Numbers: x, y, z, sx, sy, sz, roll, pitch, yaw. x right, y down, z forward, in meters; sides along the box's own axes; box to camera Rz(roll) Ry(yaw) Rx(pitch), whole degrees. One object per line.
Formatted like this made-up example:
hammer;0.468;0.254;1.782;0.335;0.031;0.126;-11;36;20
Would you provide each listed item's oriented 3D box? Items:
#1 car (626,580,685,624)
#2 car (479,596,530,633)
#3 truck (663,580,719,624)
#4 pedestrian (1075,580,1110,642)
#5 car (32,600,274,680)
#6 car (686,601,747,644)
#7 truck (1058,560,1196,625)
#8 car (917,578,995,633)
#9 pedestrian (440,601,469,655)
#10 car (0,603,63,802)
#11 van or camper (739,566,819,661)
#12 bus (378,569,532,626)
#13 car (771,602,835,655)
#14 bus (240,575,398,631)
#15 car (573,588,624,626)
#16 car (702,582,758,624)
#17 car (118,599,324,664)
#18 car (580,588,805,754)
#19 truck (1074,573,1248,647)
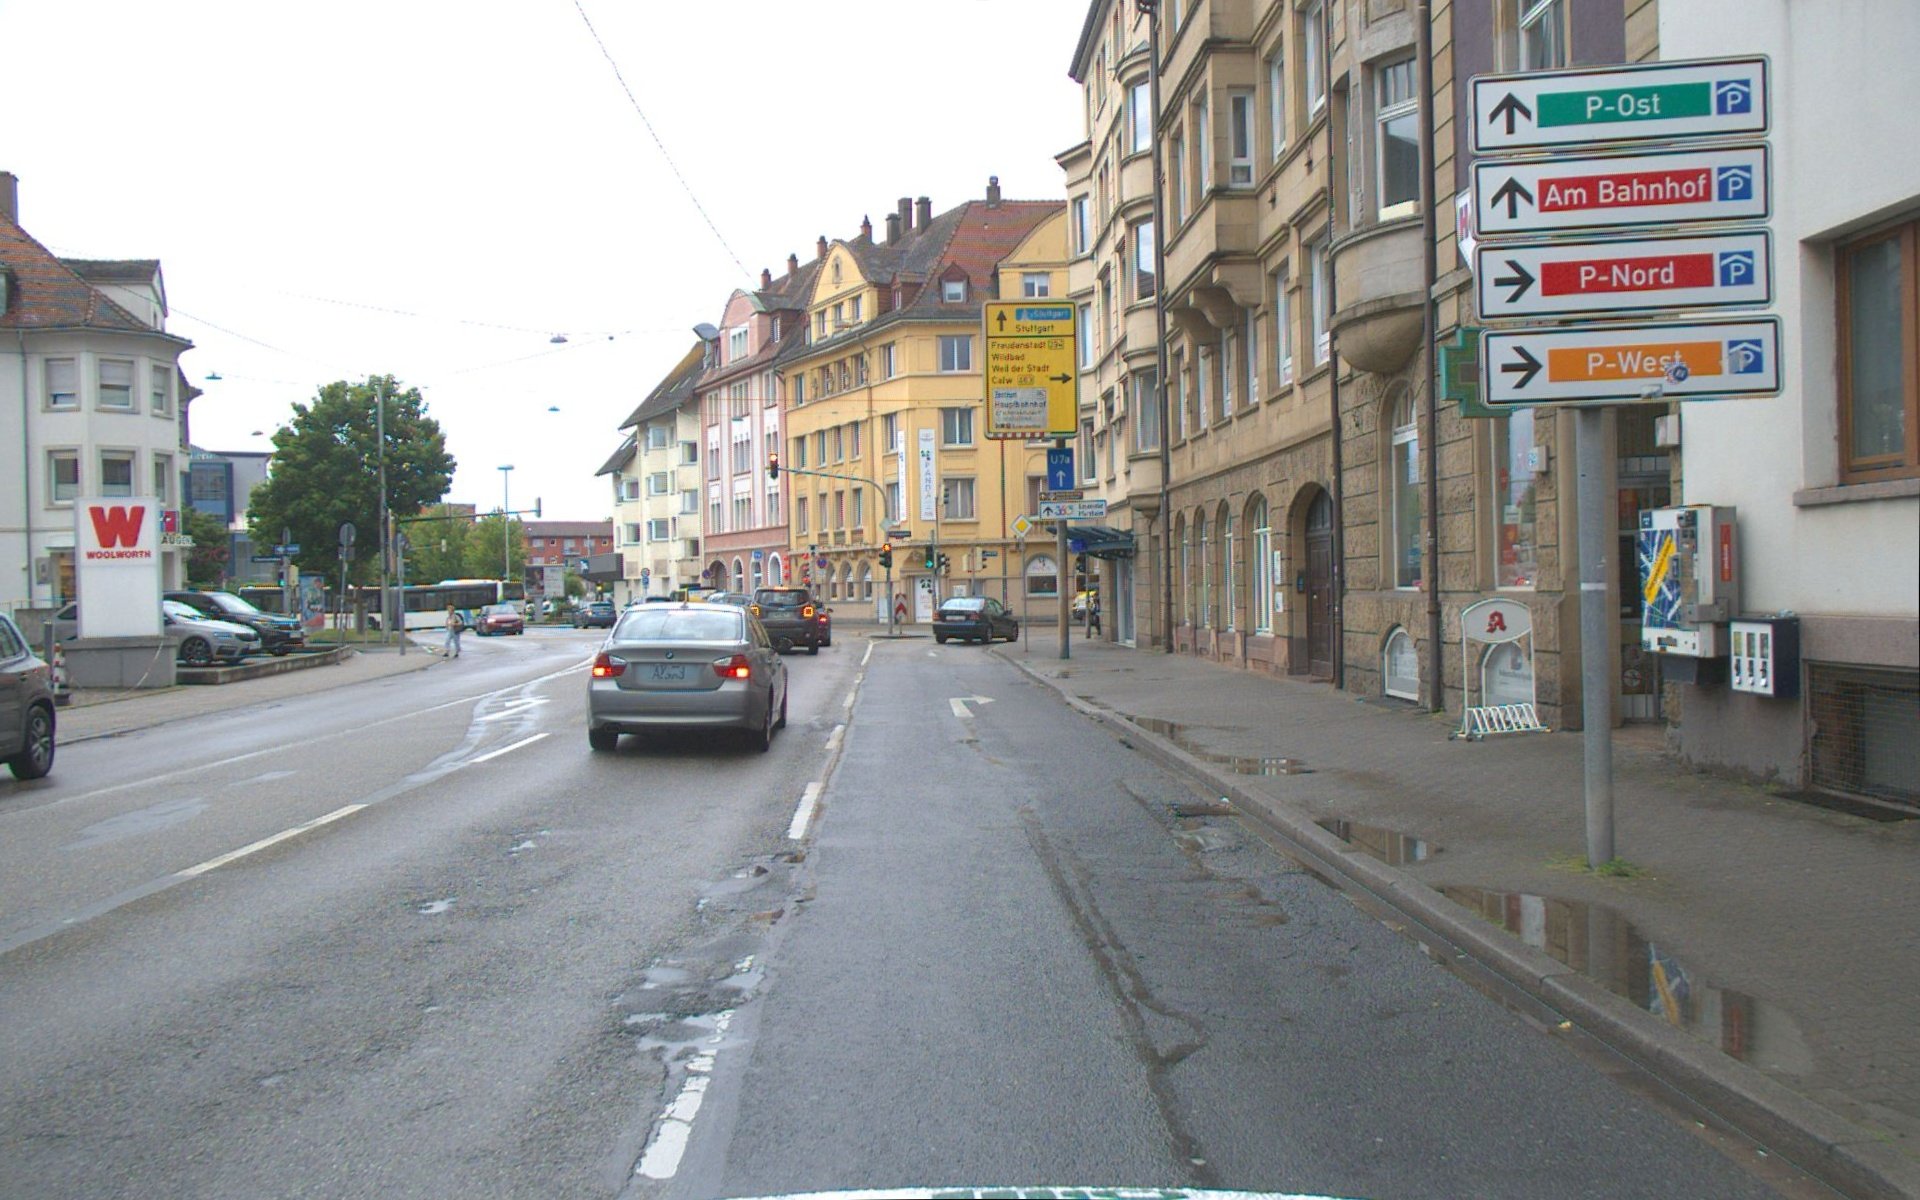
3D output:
car;-14.705;0.089;79.781;1.967;2.049;3.971;-1;0;-23
car;-21.922;0.693;79.556;1.820;1.713;3.970;0;0;-24
truck;-15.543;0.098;95.422;2.003;2.431;4.198;0;0;-27
pedestrian;4.203;0.346;52.429;1.035;1.937;1.025;-1;0;3
car;-17.737;0.861;36.543;4.362;1.553;1.883;-2;0;-8
car;-11.022;1.013;74.624;1.964;1.847;3.977;-1;0;-19
truck;6.152;-0.284;60.689;5.016;2.289;2.199;-1;0;-41
car;-0.161;0.192;50.405;1.766;1.590;3.991;-1;-1;-9
pedestrian;-14.731;0.824;48.201;0.750;1.556;0.505;1;-1;-23
car;-9.059;0.891;13.709;1.916;1.688;4.040;-1;0;-15
van or camper;-4.498;0.307;41.427;1.819;2.184;4.138;-2;0;-5
bus;-30.762;-0.153;100.753;8.923;3.159;2.919;-2;0;19
car;-4.585;0.810;48.253;1.768;1.430;4.678;-1;0;-5
bus;-39.672;0.146;102.457;8.655;3.159;2.920;-2;0;5
car;-19.955;0.387;91.259;1.967;2.049;3.970;-1;0;-24
car;-12.585;0.157;90.395;1.741;2.218;3.964;2;-1;-28
car;-18.628;0.781;41.783;4.324;1.532;1.955;-1;0;6
car;-2.612;0.646;17.089;1.763;1.490;4.369;0;0;-2
truck;8.366;0.433;69.352;6.950;2.901;2.081;-1;-1;-3
